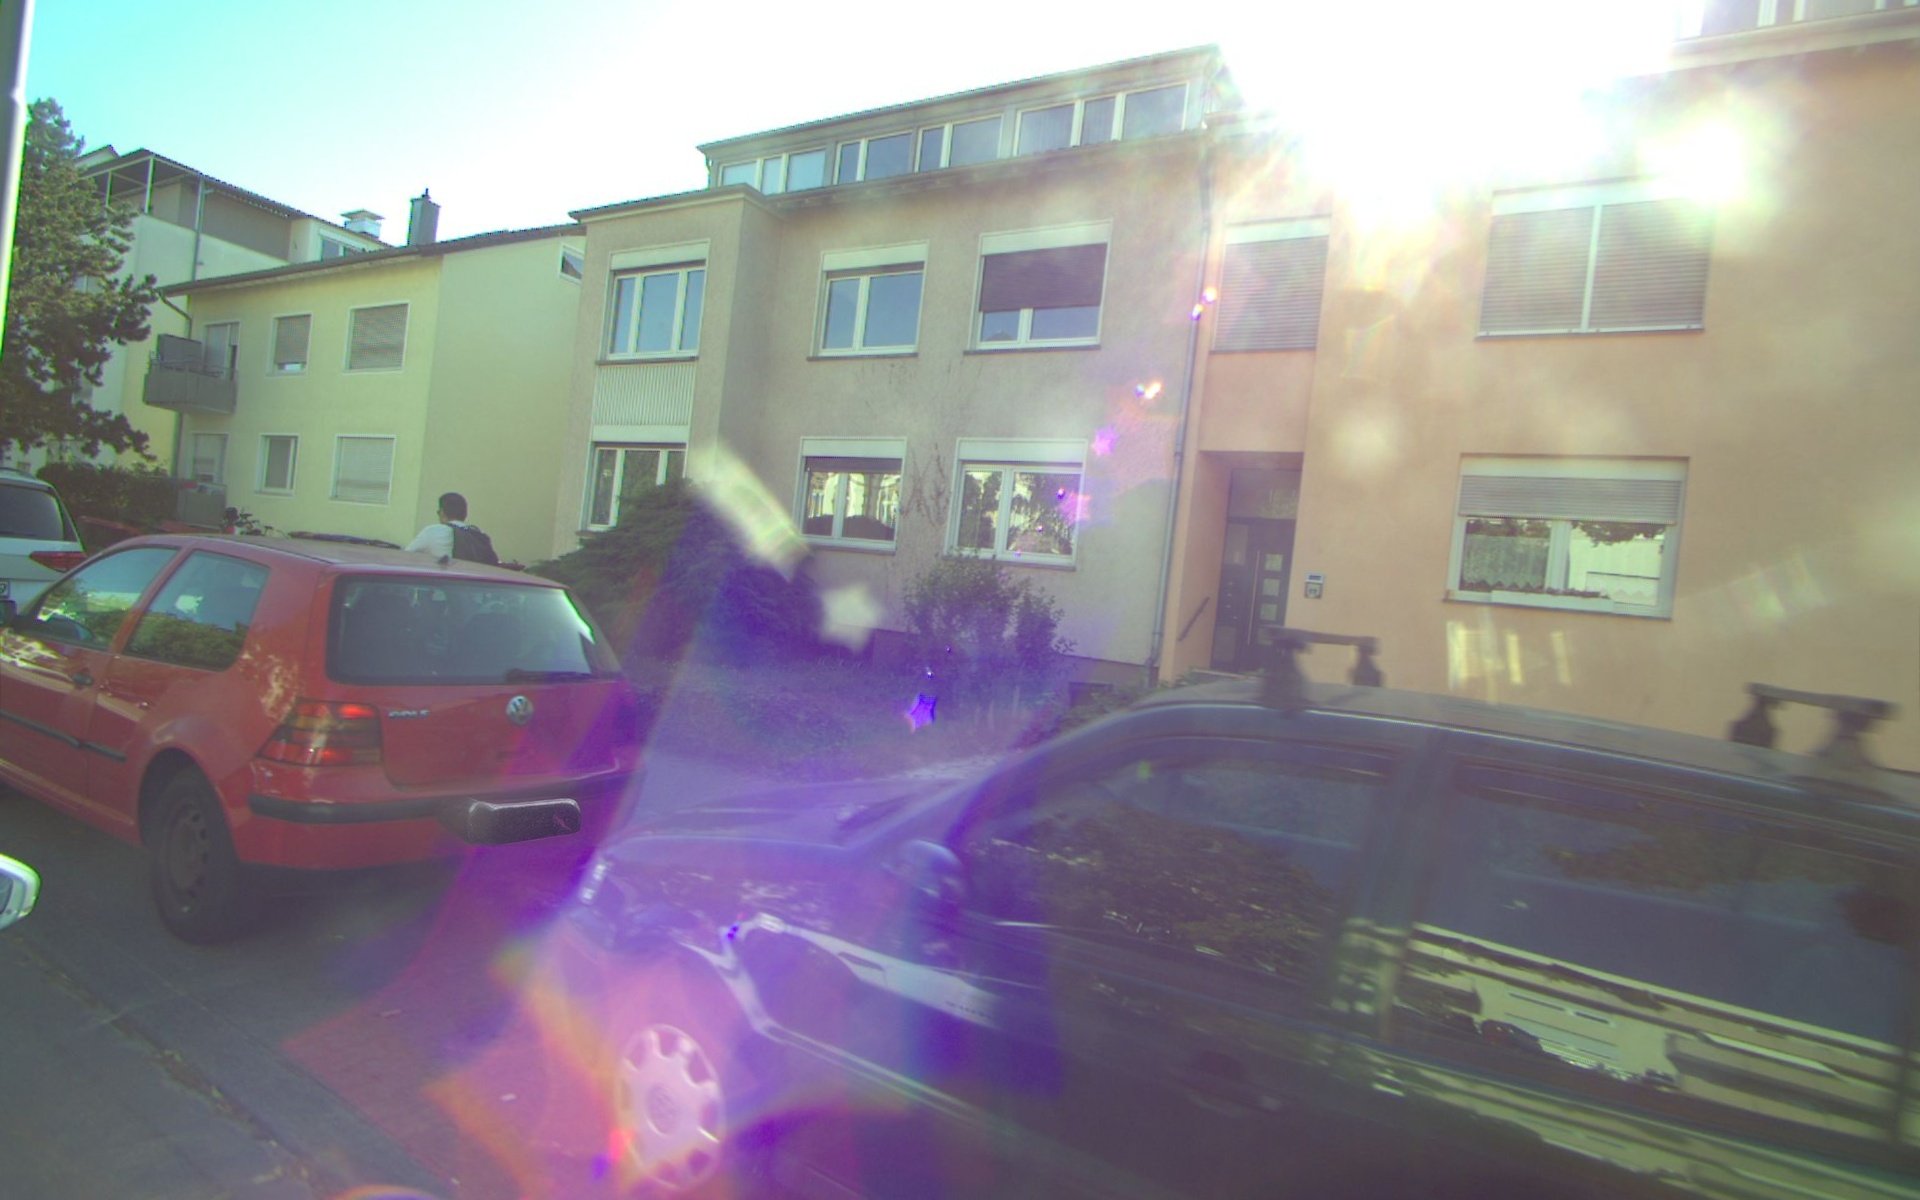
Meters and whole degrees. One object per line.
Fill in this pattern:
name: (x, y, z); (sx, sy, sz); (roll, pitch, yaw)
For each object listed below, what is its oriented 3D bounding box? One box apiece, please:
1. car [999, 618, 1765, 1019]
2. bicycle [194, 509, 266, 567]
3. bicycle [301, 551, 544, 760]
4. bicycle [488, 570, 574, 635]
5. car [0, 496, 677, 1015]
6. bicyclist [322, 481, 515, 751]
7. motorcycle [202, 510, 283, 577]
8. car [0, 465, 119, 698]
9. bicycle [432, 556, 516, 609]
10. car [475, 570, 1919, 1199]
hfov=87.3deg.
car: (2.248, 0.993, 5.979); (3.656, 1.374, 1.532); (7, 2, 32)
bicycle: (-19.277, -1.642, 26.558); (2.385, 1.320, 0.598); (7, 1, 32)
bicycle: (-3.992, 0.368, 7.427); (1.791, 1.263, 0.698); (7, 1, 32)
bicycle: (-7.614, 0.037, 17.816); (1.714, 1.006, 0.455); (5, 2, 32)
car: (-3.247, 0.400, 4.642); (3.655, 1.467, 1.534); (7, 0, 30)
bicyclist: (-3.992, 0.098, 7.425); (0.999, 1.816, 0.724); (7, 2, 32)
motorcycle: (-17.549, -1.395, 24.582); (2.385, 1.393, 0.637); (7, 1, 32)
car: (-8.881, -0.351, 8.138); (4.267, 1.680, 1.771); (7, 1, 30)
bicycle: (-11.374, -0.391, 23.623); (0.493, 1.026, 1.786); (7, -2, 24)
car: (0.764, 0.834, 2.269); (3.656, 1.373, 1.533); (7, 0, 32)
